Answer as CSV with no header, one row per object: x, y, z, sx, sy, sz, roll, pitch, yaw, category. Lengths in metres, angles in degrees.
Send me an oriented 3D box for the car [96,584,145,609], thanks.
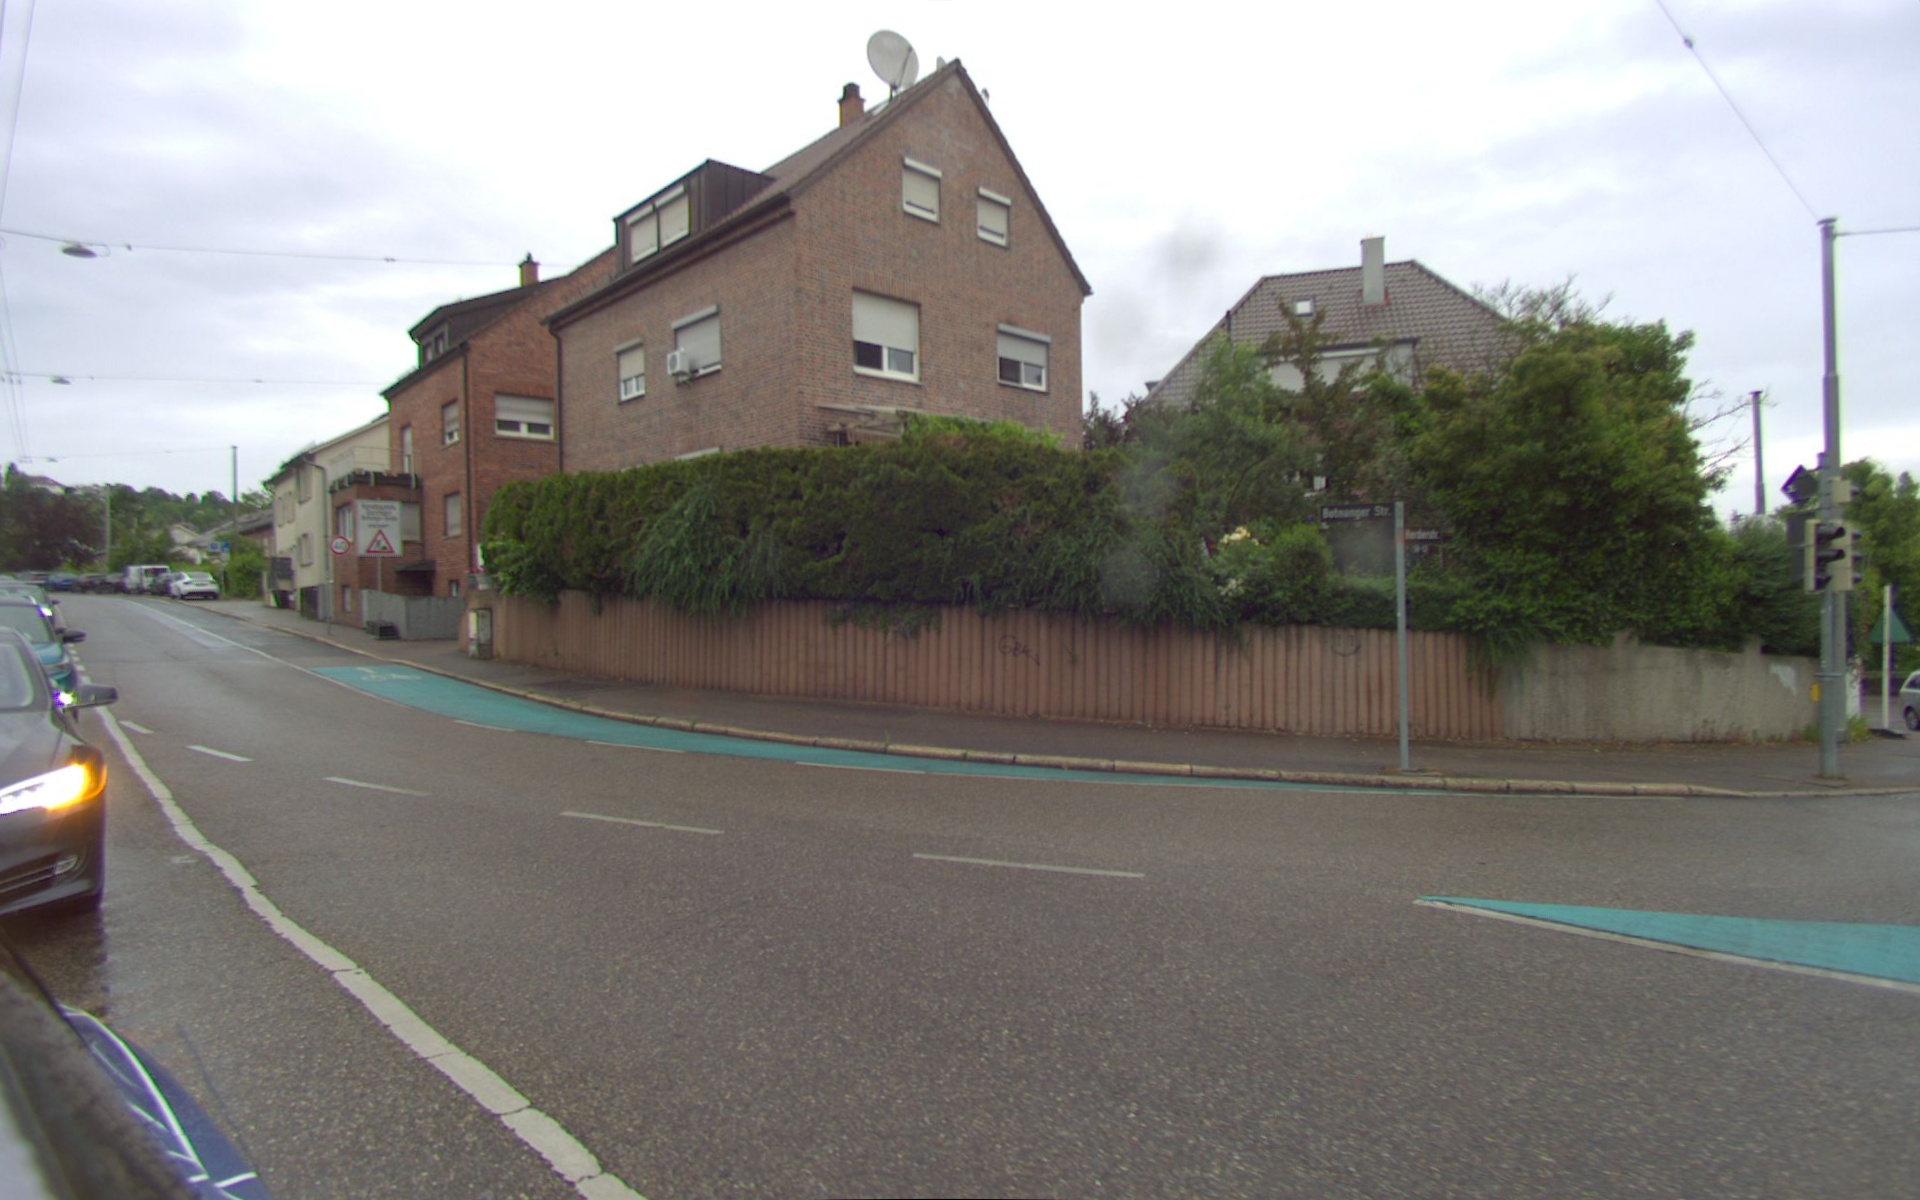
-61.151,-0.243,73.713,4.316,1.772,1.752,-1,0,36,car

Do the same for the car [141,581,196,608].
-50.941,-0.353,65.136,4.447,1.622,1.925,-1,0,40,car

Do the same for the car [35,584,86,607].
-70.781,-0.357,79.642,4.307,1.772,1.755,-1,0,30,car

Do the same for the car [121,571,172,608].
-56.475,-0.725,70.224,4.447,2.475,1.986,-1,0,40,car

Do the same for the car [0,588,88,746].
-11.495,0.717,11.628,4.041,1.622,1.777,-1,0,43,car

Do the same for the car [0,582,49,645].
-27.001,0.391,28.463,4.042,1.662,1.734,-1,-2,44,car

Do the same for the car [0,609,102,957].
-5.861,0.776,5.152,4.324,1.402,1.810,-1,0,43,car

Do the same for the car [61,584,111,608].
-66.224,-0.309,76.665,4.311,1.772,1.754,-1,0,33,car

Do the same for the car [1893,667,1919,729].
25.363,2.423,24.799,1.700,1.597,4.437,-1,-5,15,car

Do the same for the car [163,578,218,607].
-46.194,-0.438,60.710,4.451,1.622,1.923,-1,0,43,car

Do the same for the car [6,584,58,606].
-75.138,-0.397,81.963,4.303,1.772,1.757,-1,0,27,car
